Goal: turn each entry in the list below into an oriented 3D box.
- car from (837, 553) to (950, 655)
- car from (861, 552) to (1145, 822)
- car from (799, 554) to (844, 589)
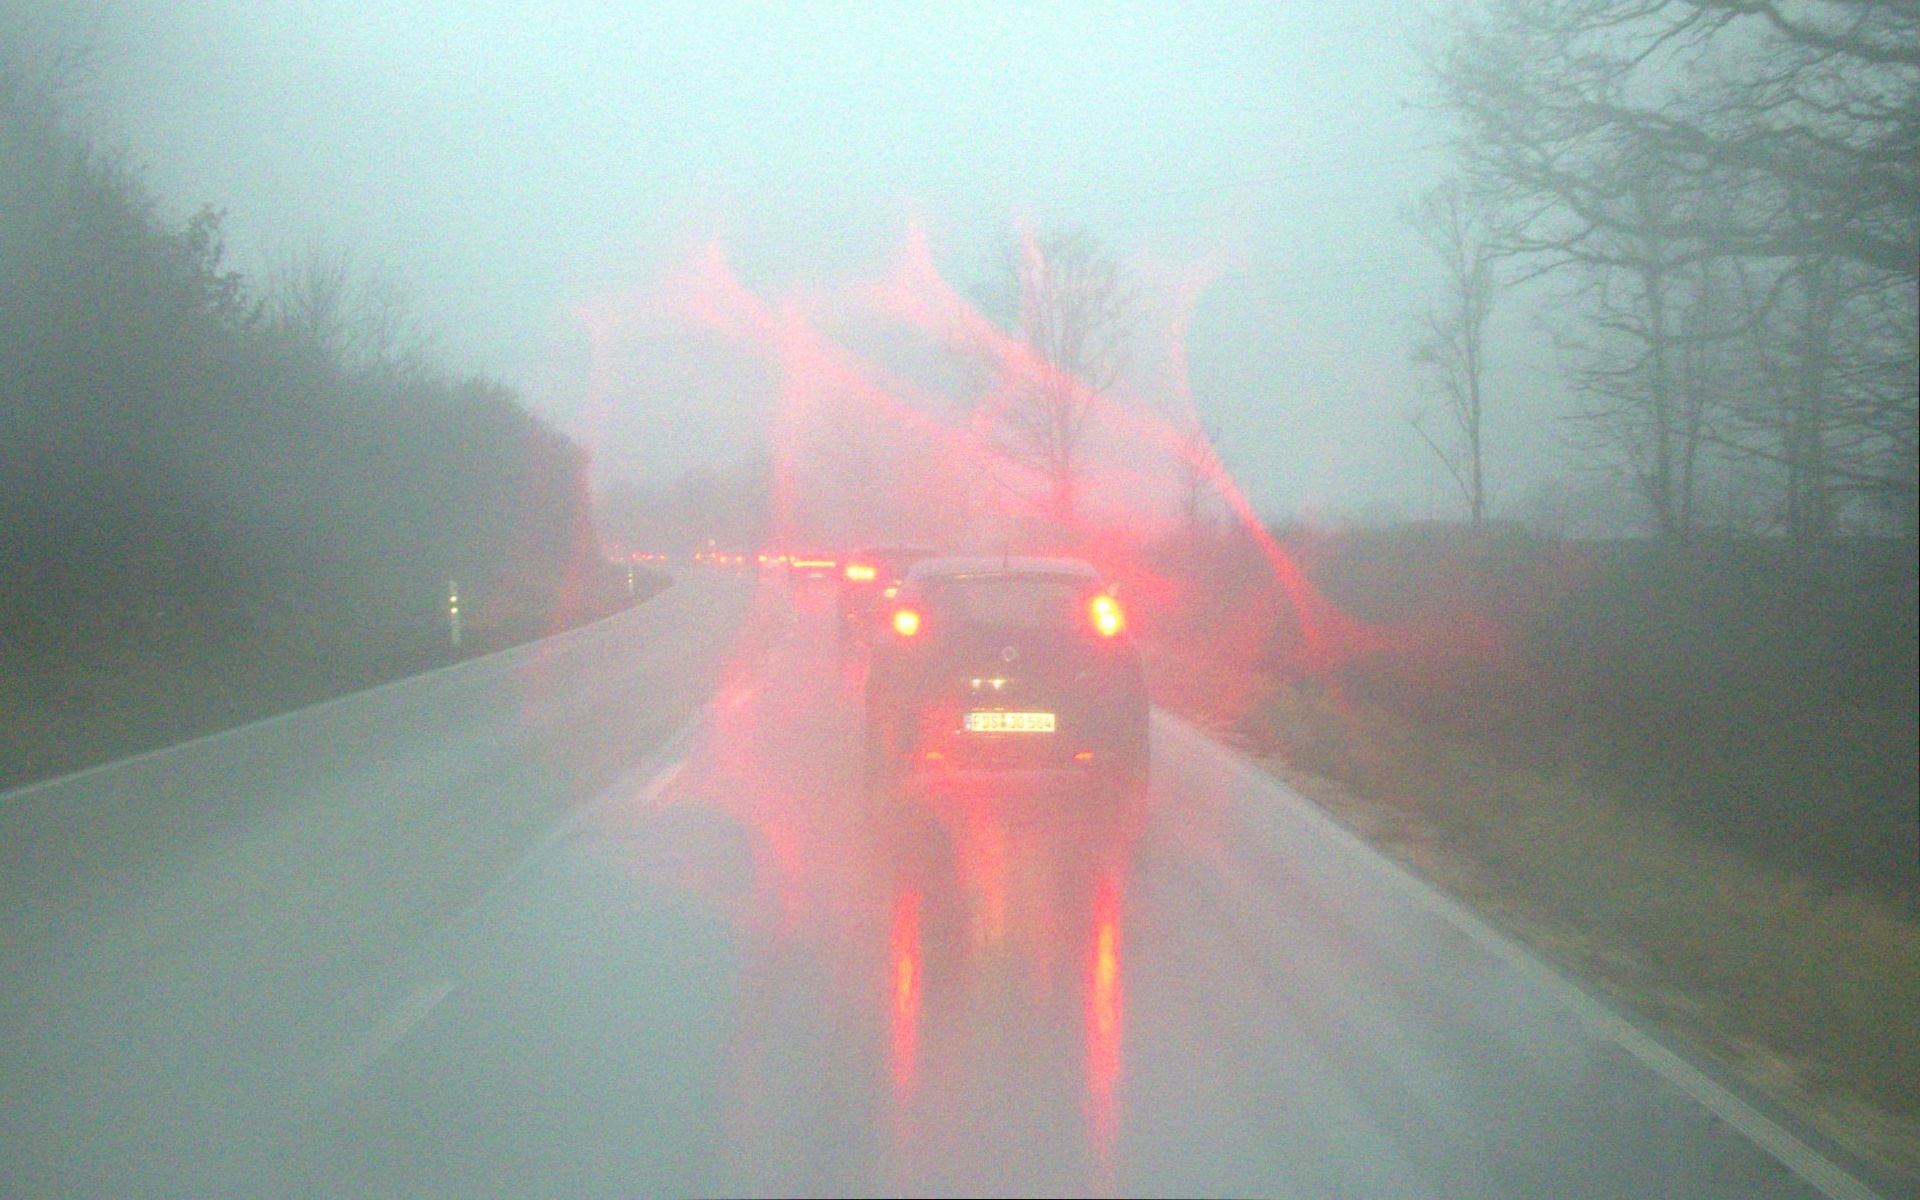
[{"bbox_3d":[-0.960,0.031,49.248,1.547,1.392,3.870,1,1,-1],"label":"car"},{"bbox_3d":[0.261,0.469,21.497,1.602,1.517,3.869,1,1,0],"label":"car"},{"bbox_3d":[-5.575,-1.151,138.550,1.547,1.392,3.869,1,1,2],"label":"car"}]
